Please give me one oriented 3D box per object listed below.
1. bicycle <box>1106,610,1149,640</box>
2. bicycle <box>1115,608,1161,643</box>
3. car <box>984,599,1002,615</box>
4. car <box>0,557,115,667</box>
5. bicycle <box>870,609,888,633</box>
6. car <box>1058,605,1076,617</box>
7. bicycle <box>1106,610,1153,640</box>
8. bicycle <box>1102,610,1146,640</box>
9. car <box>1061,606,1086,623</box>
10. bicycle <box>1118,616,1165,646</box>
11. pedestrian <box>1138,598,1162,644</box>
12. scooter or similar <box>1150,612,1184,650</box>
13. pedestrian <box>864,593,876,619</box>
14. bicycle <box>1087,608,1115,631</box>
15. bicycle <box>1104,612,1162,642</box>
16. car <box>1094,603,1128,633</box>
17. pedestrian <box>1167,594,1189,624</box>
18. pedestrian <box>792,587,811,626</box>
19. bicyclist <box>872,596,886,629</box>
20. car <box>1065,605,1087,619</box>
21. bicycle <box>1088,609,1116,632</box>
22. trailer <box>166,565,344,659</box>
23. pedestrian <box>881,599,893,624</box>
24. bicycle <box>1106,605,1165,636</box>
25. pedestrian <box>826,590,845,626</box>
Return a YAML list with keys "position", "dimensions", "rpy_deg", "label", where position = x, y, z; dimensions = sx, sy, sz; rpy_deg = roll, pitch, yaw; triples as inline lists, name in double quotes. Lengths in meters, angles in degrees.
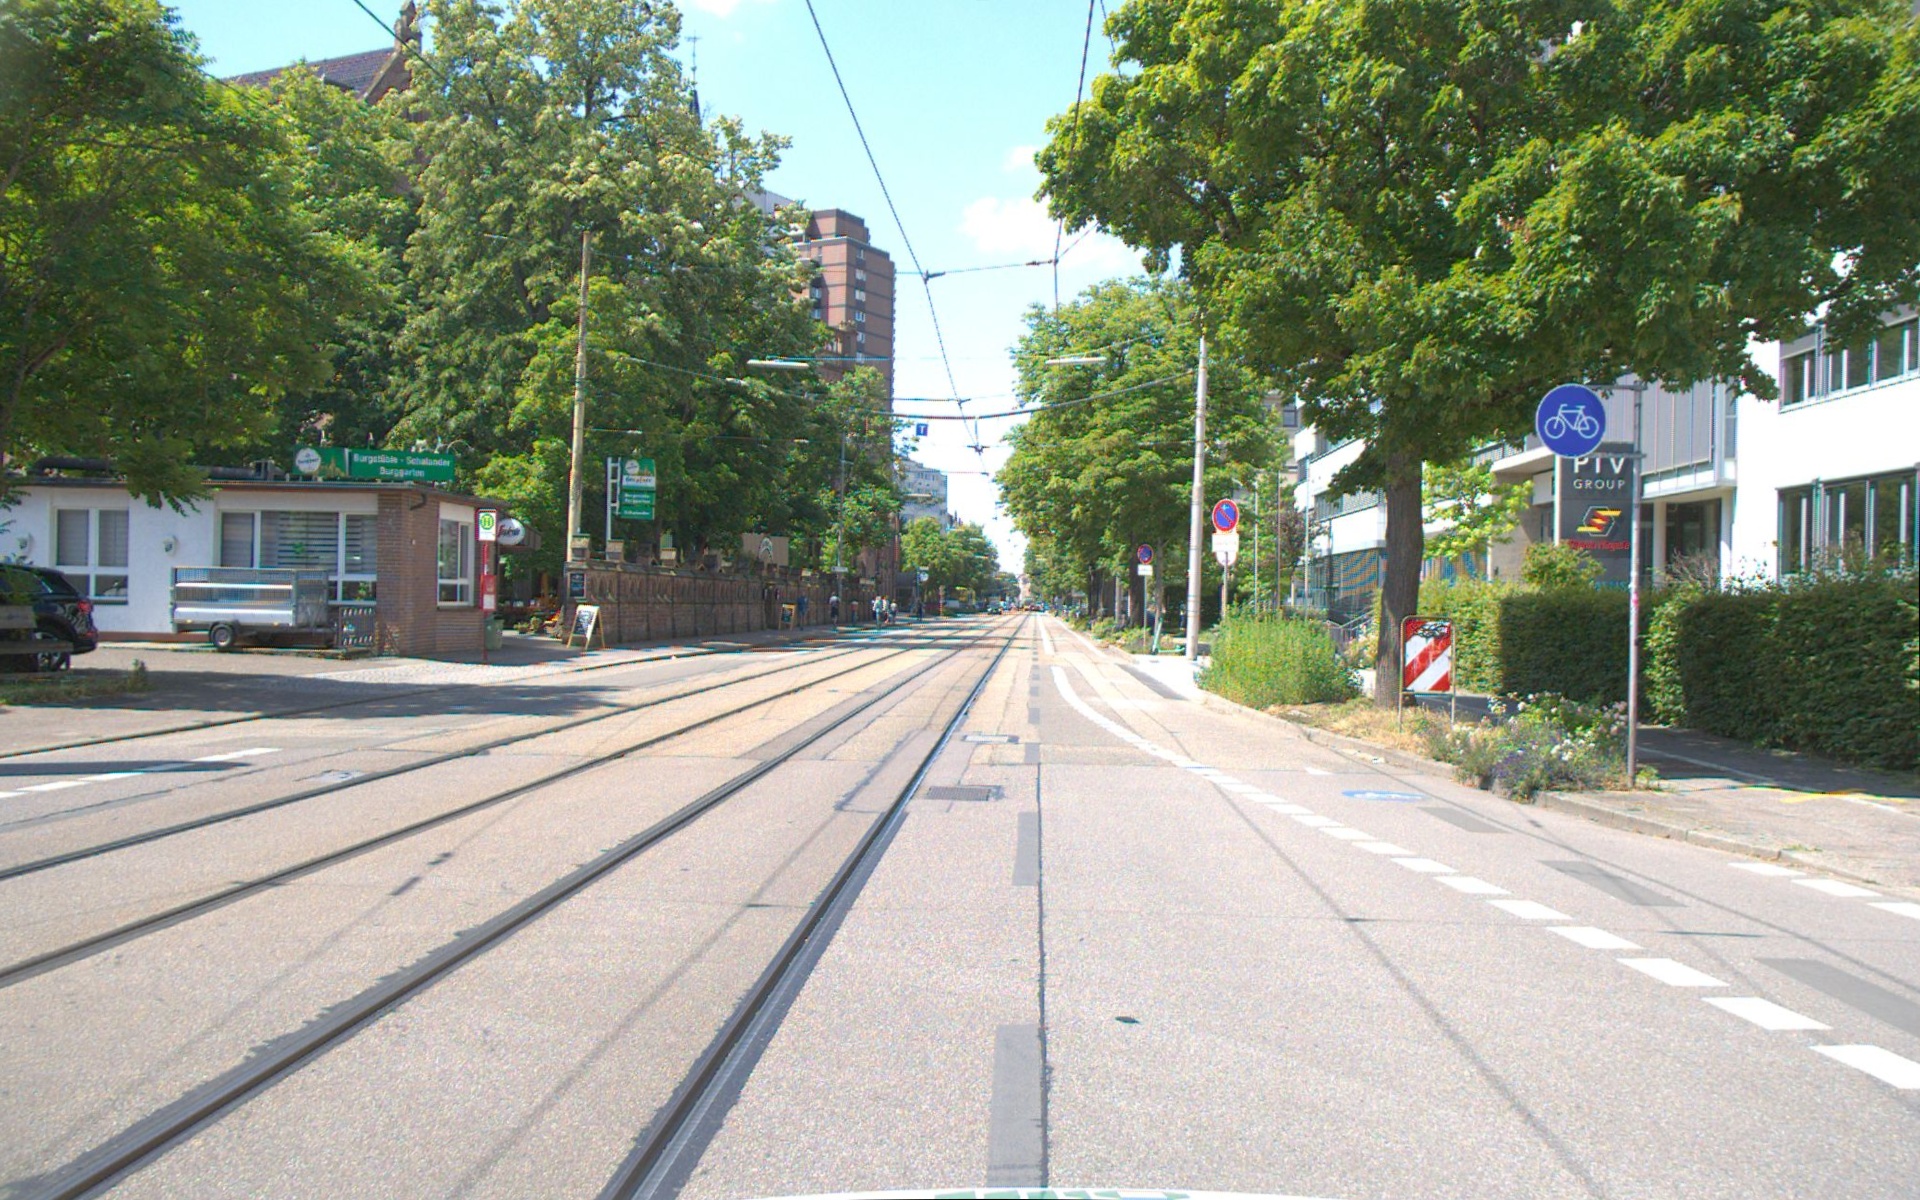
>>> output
- position: [6.950, 1.030, 68.588]
  dimensions: [1.716, 1.186, 0.530]
  rpy_deg: [1, 0, 0]
  label: "bicycle"
- position: [6.940, 0.996, 64.506]
  dimensions: [1.716, 1.293, 0.530]
  rpy_deg: [1, 0, 0]
  label: "bicycle"
- position: [4.261, 0.919, 214.492]
  dimensions: [1.951, 2.049, 4.002]
  rpy_deg: [2, 0, 5]
  label: "car"
- position: [-15.189, 0.151, 24.598]
  dimensions: [4.299, 1.618, 1.968]
  rpy_deg: [1, 0, -44]
  label: "car"
- position: [-4.201, 1.086, 85.696]
  dimensions: [0.686, 1.225, 2.241]
  rpy_deg: [-1, 0, 2]
  label: "bicycle"
- position: [12.158, 1.237, 188.644]
  dimensions: [1.952, 1.333, 4.001]
  rpy_deg: [1, 0, 2]
  label: "car"
- position: [7.191, 1.068, 70.070]
  dimensions: [1.954, 1.231, 0.662]
  rpy_deg: [1, 0, 7]
  label: "bicycle"
- position: [6.752, 1.021, 68.094]
  dimensions: [1.716, 1.186, 0.530]
  rpy_deg: [1, 0, 0]
  label: "bicycle"
- position: [9.377, 1.198, 136.870]
  dimensions: [1.952, 1.333, 4.001]
  rpy_deg: [1, 0, 2]
  label: "car"
- position: [6.961, 1.177, 63.417]
  dimensions: [1.751, 1.121, 0.532]
  rpy_deg: [1, 0, 1]
  label: "bicycle"
- position: [7.370, 0.815, 64.181]
  dimensions: [0.792, 1.745, 0.574]
  rpy_deg: [1, -1, -45]
  label: "pedestrian"
- position: [6.427, 0.958, 51.421]
  dimensions: [1.036, 1.176, 0.371]
  rpy_deg: [0, -1, 3]
  label: "scooter or similar"
- position: [-6.341, 0.426, 116.670]
  dimensions: [0.727, 1.758, 0.867]
  rpy_deg: [1, 0, 2]
  label: "pedestrian"
- position: [7.998, 1.121, 93.702]
  dimensions: [1.531, 1.263, 0.437]
  rpy_deg: [1, 0, 4]
  label: "bicycle"
- position: [7.481, 1.160, 71.409]
  dimensions: [2.457, 1.231, 0.742]
  rpy_deg: [1, 0, 7]
  label: "bicycle"
- position: [7.962, 0.944, 87.293]
  dimensions: [1.600, 1.527, 4.001]
  rpy_deg: [1, 0, 2]
  label: "car"
- position: [13.549, 0.540, 102.890]
  dimensions: [1.190, 1.859, 0.831]
  rpy_deg: [1, 0, -1]
  label: "pedestrian"
- position: [-7.374, 0.299, 76.792]
  dimensions: [0.727, 1.758, 0.867]
  rpy_deg: [1, 0, 2]
  label: "pedestrian"
- position: [-4.181, 0.650, 85.849]
  dimensions: [0.628, 1.709, 0.815]
  rpy_deg: [1, 0, 2]
  label: "bicyclist"
- position: [11.103, 1.115, 158.208]
  dimensions: [1.952, 1.333, 4.001]
  rpy_deg: [1, 0, 2]
  label: "car"
- position: [8.004, 1.129, 93.197]
  dimensions: [1.531, 1.263, 0.437]
  rpy_deg: [1, 0, 4]
  label: "bicycle"
- position: [-13.965, 0.231, 32.864]
  dimensions: [2.771, 1.733, 1.622]
  rpy_deg: [1, 0, 3]
  label: "trailer"
- position: [-5.118, 0.816, 115.428]
  dimensions: [0.727, 1.758, 0.867]
  rpy_deg: [1, 0, 2]
  label: "pedestrian"
- position: [7.356, 0.858, 69.367]
  dimensions: [2.457, 1.231, 0.648]
  rpy_deg: [1, 0, 7]
  label: "bicycle"
- position: [-6.295, 0.409, 83.651]
  dimensions: [0.798, 1.801, 0.925]
  rpy_deg: [1, 0, 2]
  label: "pedestrian"
